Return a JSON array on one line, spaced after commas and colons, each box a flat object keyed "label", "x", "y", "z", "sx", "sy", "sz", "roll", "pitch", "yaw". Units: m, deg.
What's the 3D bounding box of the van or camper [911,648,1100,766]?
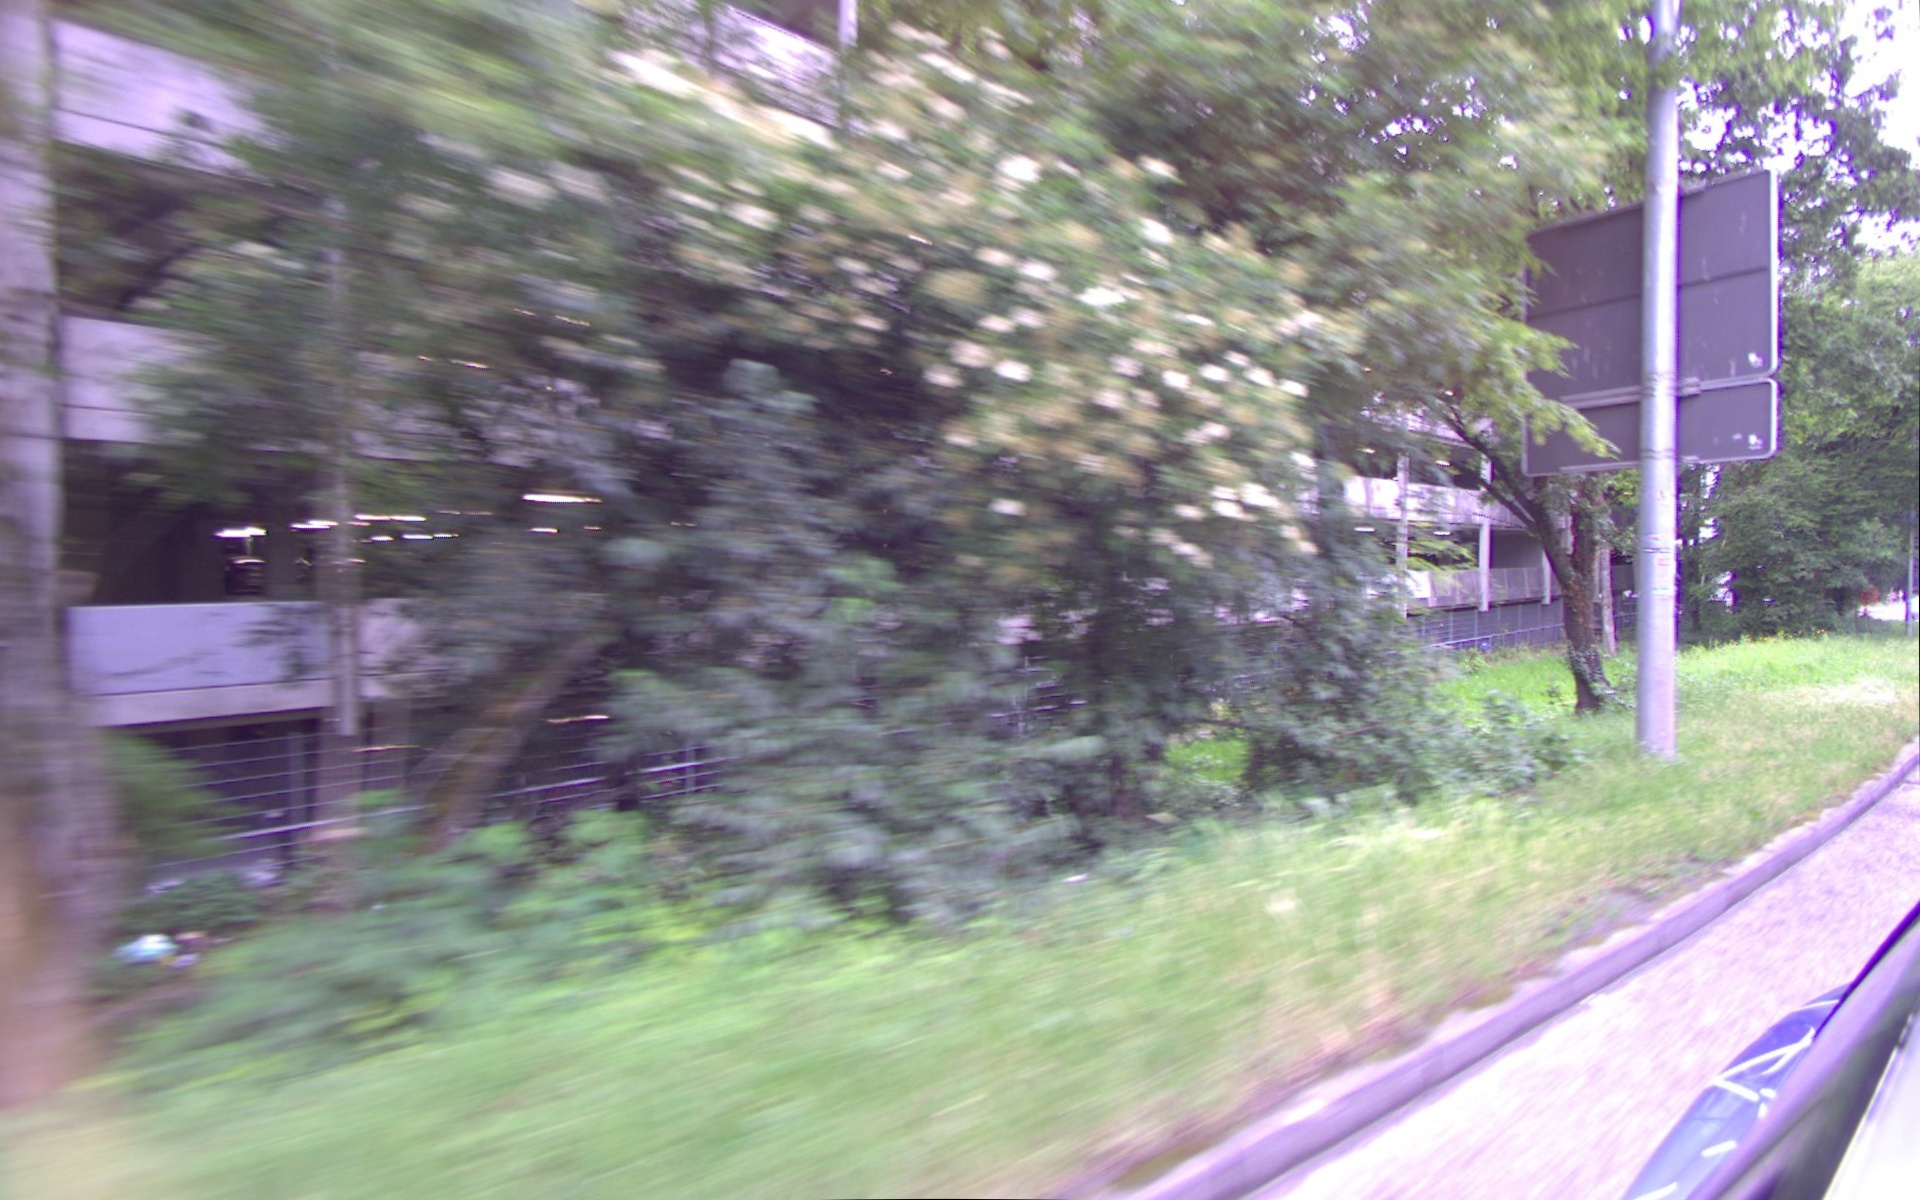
[{"label": "van or camper", "x": 0.930, "y": 2.239, "z": 22.295, "sx": 1.811, "sy": 1.978, "sz": 4.007, "roll": -2, "pitch": 3, "yaw": -45}]

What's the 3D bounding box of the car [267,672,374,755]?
[{"label": "car", "x": -14.627, "y": 2.514, "z": 23.091, "sx": 1.445, "sy": 1.316, "sz": 3.547, "roll": -2, "pitch": 3, "yaw": -43}]

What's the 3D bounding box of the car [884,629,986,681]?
[{"label": "car", "x": -0.941, "y": 1.917, "z": 36.158, "sx": 1.646, "sy": 1.458, "sz": 3.667, "roll": -2, "pitch": 3, "yaw": -43}]

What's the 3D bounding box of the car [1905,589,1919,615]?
[{"label": "car", "x": 58.981, "y": 0.198, "z": 60.228, "sx": 1.826, "sy": 1.497, "sz": 4.499, "roll": -1, "pitch": 3, "yaw": 10}]

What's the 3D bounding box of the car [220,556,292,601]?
[{"label": "car", "x": -27.559, "y": -0.883, "z": 39.550, "sx": 1.830, "sy": 1.610, "sz": 4.185, "roll": -4, "pitch": 4, "yaw": -41}]

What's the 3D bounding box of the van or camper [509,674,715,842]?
[{"label": "van or camper", "x": -5.925, "y": 2.475, "z": 16.981, "sx": 1.809, "sy": 1.978, "sz": 4.010, "roll": -2, "pitch": 3, "yaw": -43}]

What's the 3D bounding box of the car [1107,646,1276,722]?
[{"label": "car", "x": 6.395, "y": 2.266, "z": 28.260, "sx": 1.918, "sy": 1.525, "sz": 4.257, "roll": -2, "pitch": 4, "yaw": -45}]

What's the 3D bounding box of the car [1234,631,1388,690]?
[{"label": "car", "x": 11.846, "y": 2.001, "z": 34.408, "sx": 1.916, "sy": 1.525, "sz": 4.595, "roll": -1, "pitch": 3, "yaw": -44}]

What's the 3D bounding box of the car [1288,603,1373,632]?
[{"label": "car", "x": 20.486, "y": 0.936, "z": 56.113, "sx": 1.797, "sy": 1.433, "sz": 4.061, "roll": -1, "pitch": 2, "yaw": -45}]

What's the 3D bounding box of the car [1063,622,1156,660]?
[{"label": "car", "x": 6.328, "y": 1.714, "z": 43.130, "sx": 1.646, "sy": 1.299, "sz": 3.665, "roll": -2, "pitch": 4, "yaw": -45}]

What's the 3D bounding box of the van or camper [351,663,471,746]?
[{"label": "van or camper", "x": -13.391, "y": 2.459, "z": 24.592, "sx": 1.698, "sy": 1.426, "sz": 3.717, "roll": -2, "pitch": 3, "yaw": -43}]

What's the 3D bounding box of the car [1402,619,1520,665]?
[{"label": "car", "x": 20.599, "y": 1.672, "z": 41.688, "sx": 1.834, "sy": 1.551, "sz": 3.989, "roll": -1, "pitch": 3, "yaw": -45}]

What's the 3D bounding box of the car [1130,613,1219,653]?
[{"label": "car", "x": 9.741, "y": 1.455, "z": 46.102, "sx": 1.646, "sy": 1.500, "sz": 3.665, "roll": -2, "pitch": 3, "yaw": -45}]

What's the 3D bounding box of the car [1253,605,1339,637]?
[{"label": "car", "x": 18.098, "y": 1.095, "z": 54.636, "sx": 1.797, "sy": 1.470, "sz": 4.061, "roll": -1, "pitch": 2, "yaw": -45}]

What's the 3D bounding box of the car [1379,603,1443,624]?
[{"label": "car", "x": 27.931, "y": 0.825, "z": 62.750, "sx": 1.498, "sy": 1.190, "sz": 3.334, "roll": -4, "pitch": 2, "yaw": -44}]

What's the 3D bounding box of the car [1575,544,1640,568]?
[{"label": "car", "x": 36.395, "y": -2.482, "z": 56.928, "sx": 1.334, "sy": 1.262, "sz": 2.890, "roll": -4, "pitch": 4, "yaw": -43}]

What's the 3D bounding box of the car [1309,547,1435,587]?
[{"label": "car", "x": 14.894, "y": -1.224, "z": 36.704, "sx": 1.800, "sy": 1.360, "sz": 3.841, "roll": -1, "pitch": 3, "yaw": -40}]
